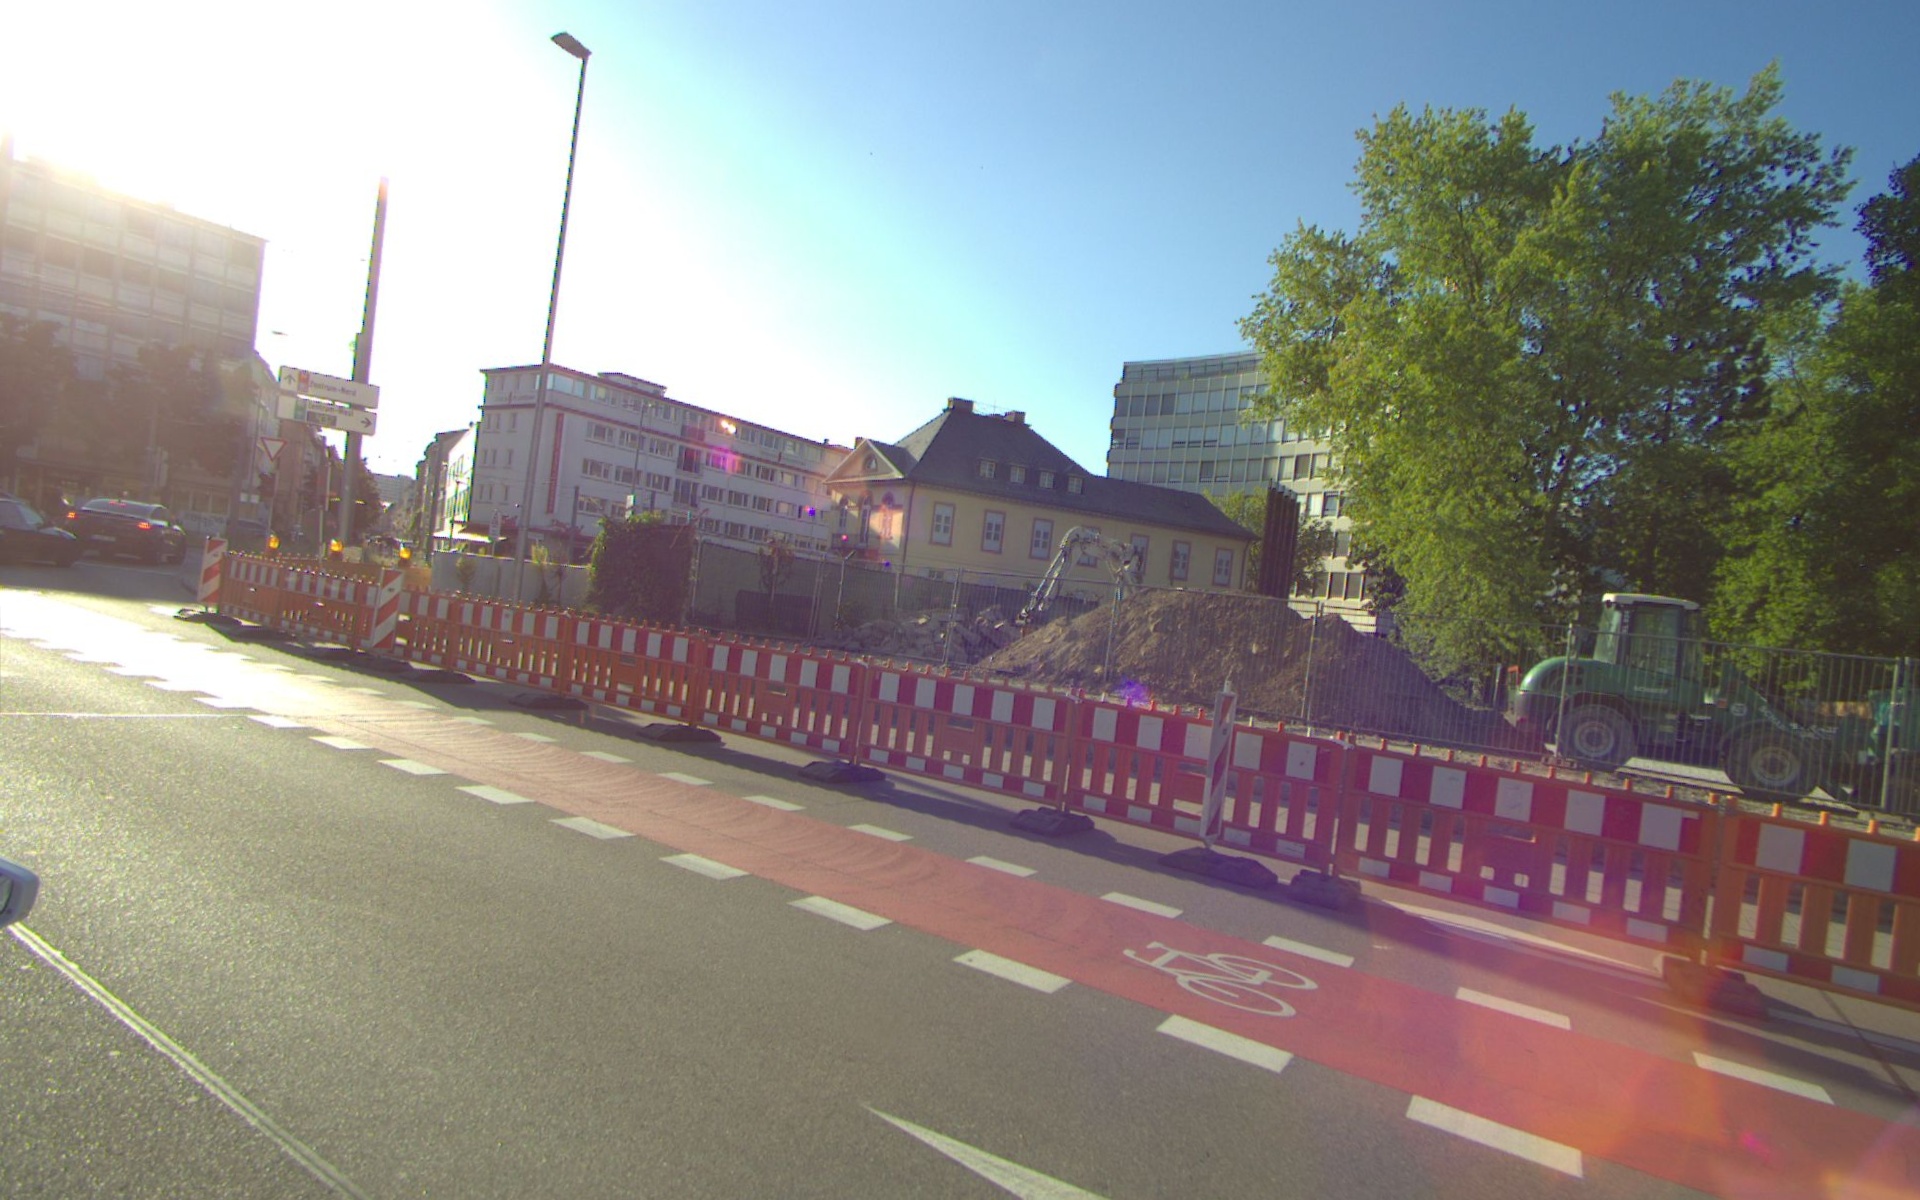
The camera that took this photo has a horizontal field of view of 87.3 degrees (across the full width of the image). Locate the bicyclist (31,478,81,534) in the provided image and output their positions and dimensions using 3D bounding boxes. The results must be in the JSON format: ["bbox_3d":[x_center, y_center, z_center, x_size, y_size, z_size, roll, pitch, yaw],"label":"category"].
[{"bbox_3d":[-29.697,-3.077,33.044,0.680,1.682,0.959,7,0,34],"label":"bicyclist"}]

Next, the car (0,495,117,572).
[{"bbox_3d":[-20.507,-1.523,21.305,1.716,1.443,4.001,7,-1,3],"label":"car"}]

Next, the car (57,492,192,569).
[{"bbox_3d":[-23.328,-1.923,28.275,1.978,1.713,3.971,9,-1,-28],"label":"car"}]

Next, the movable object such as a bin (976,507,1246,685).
[{"bbox_3d":[3.846,-0.025,25.160,6.022,3.602,2.836,7,0,-34],"label":"movable object such as a bin"}]

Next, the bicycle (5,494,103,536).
[{"bbox_3d":[-29.719,-2.777,33.044,0.671,1.039,2.228,7,-1,34],"label":"bicycle"}]

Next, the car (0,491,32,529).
[{"bbox_3d":[-46.071,-4.420,46.488,1.969,1.616,4.332,7,0,36],"label":"car"}]
